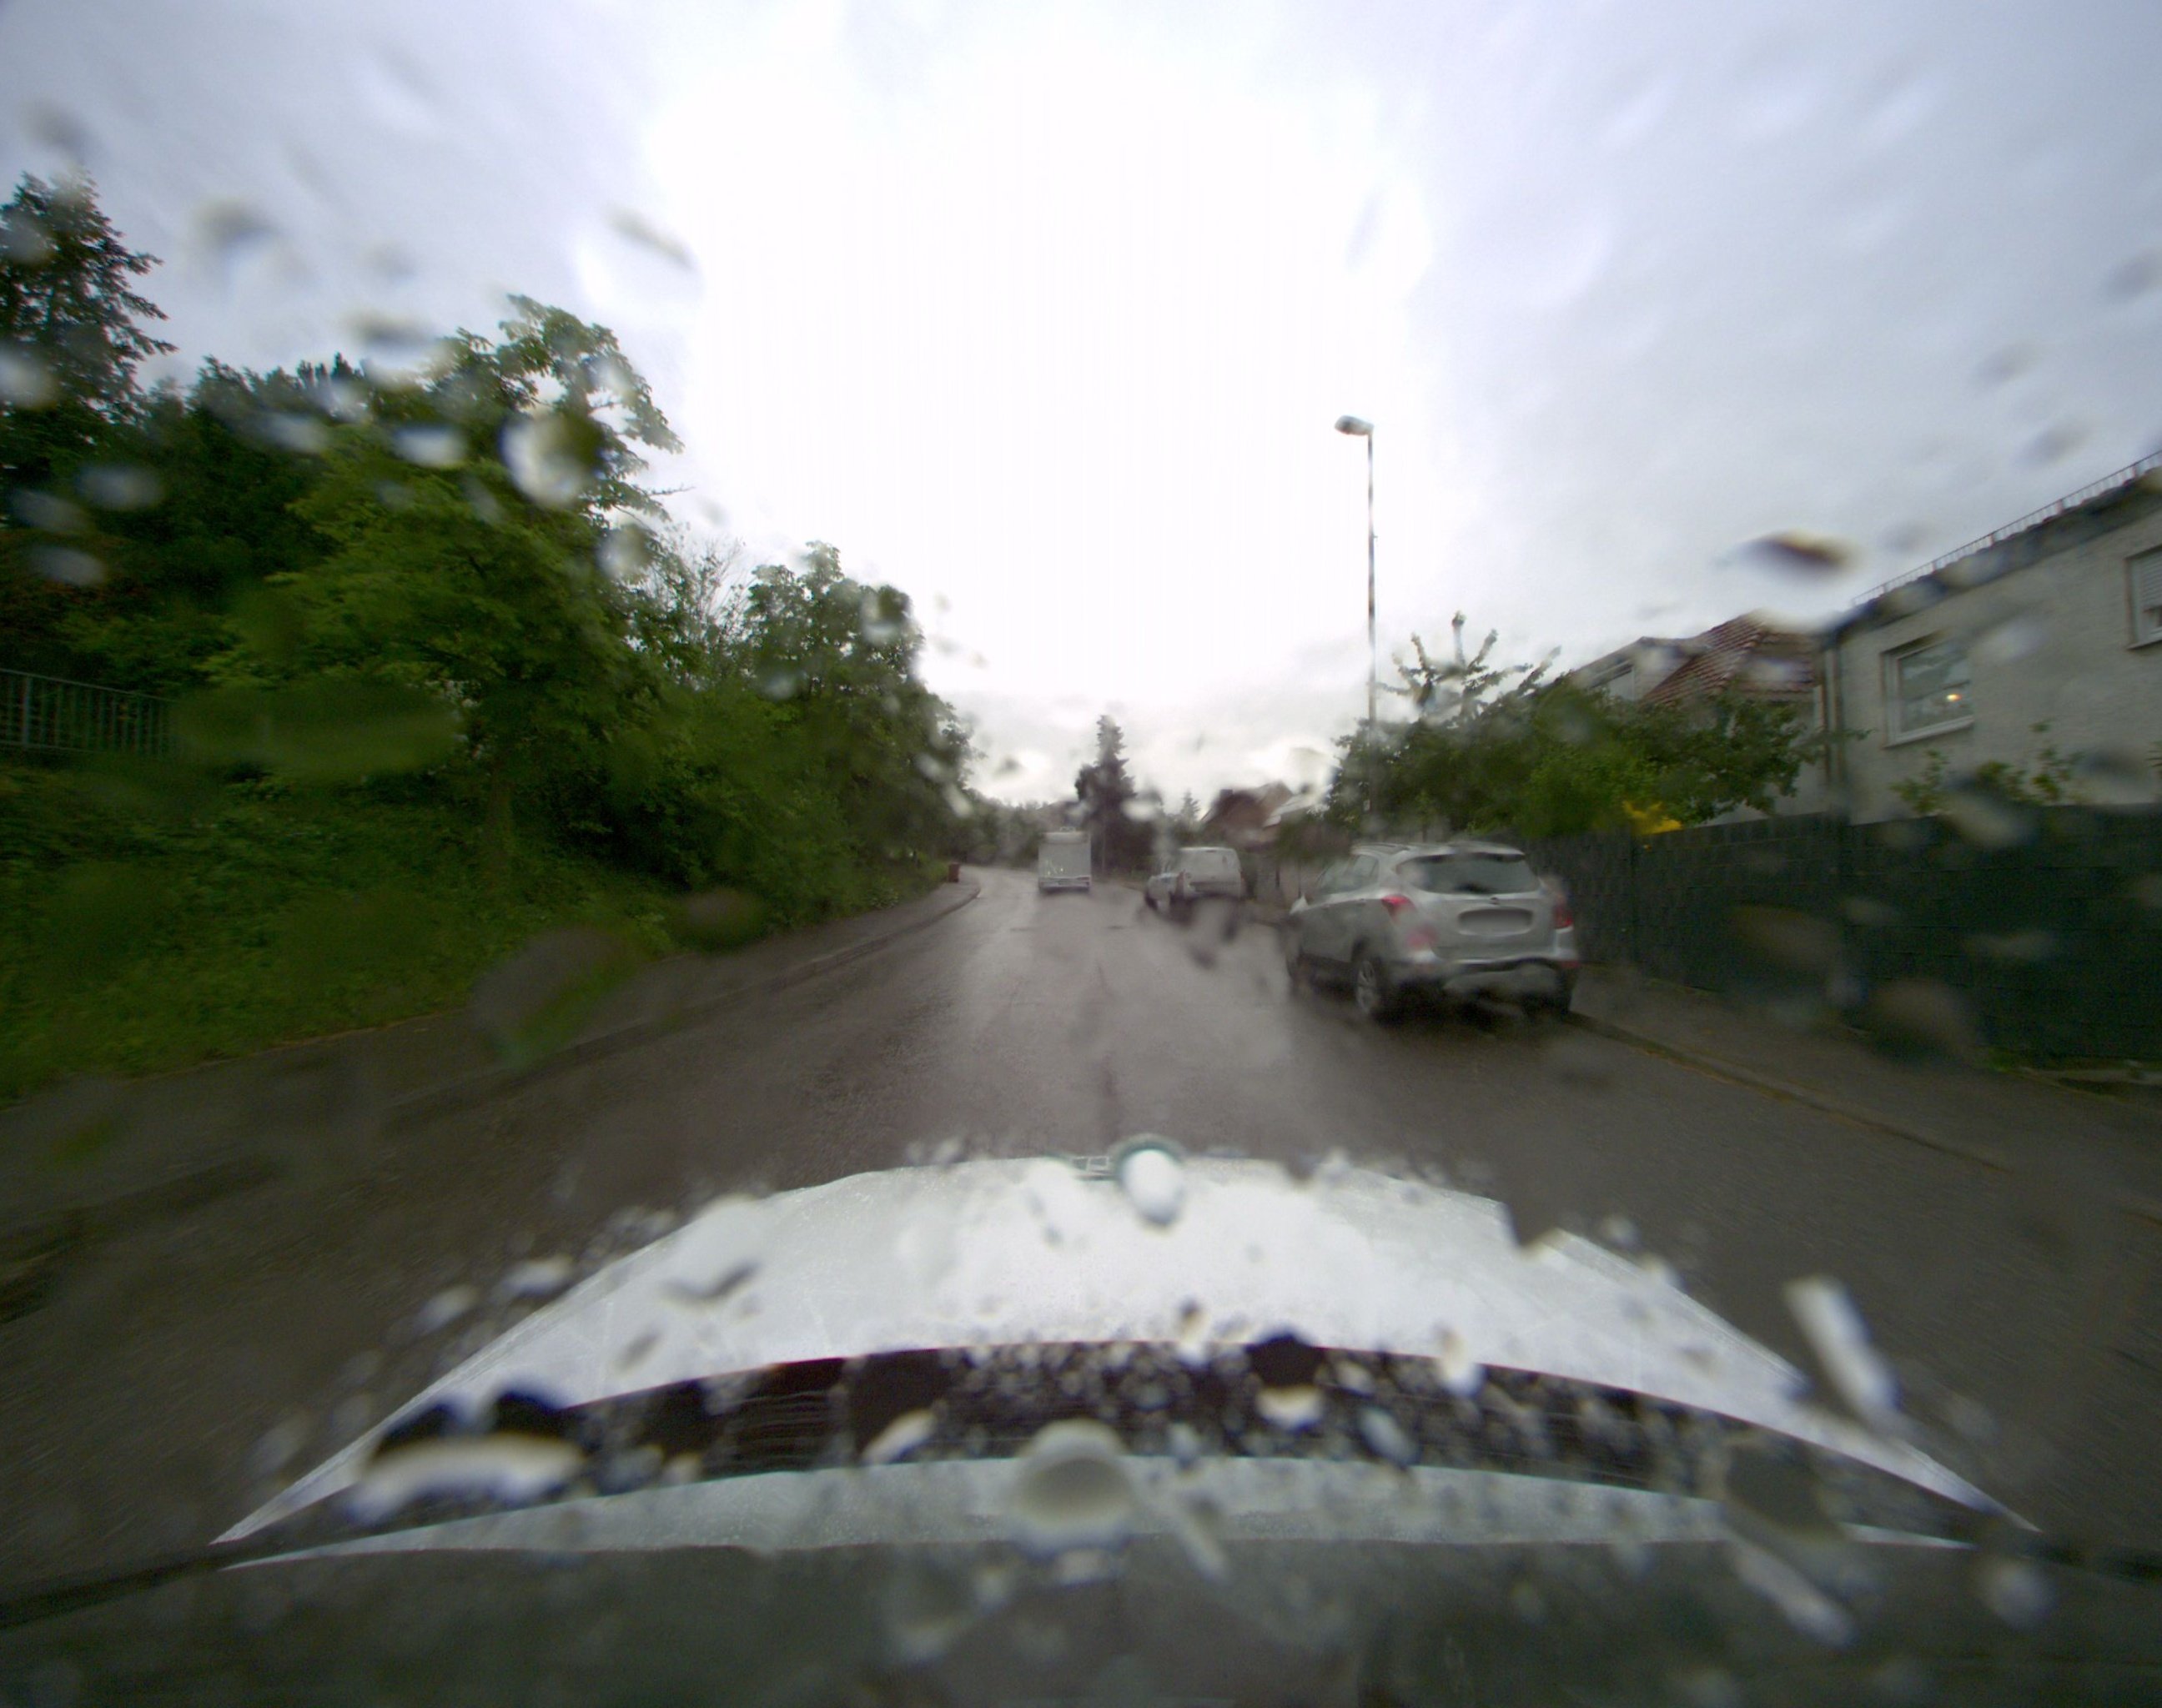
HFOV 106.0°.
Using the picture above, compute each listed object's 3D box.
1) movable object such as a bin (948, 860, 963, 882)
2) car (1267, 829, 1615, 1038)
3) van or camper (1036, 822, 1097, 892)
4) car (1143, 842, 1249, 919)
[{"bbox_3d":[-6.951,0.932,45.089,0.693,1.090,0.802,2,3,-4],"label":"movable object such as a bin"},{"bbox_3d":[3.426,0.660,8.786,1.798,1.626,4.287,-2,0,0],"label":"car"},{"bbox_3d":[-0.724,0.154,36.763,2.534,2.925,5.942,0,-1,-3],"label":"van or camper"},{"bbox_3d":[2.926,0.658,21.722,1.776,1.803,4.698,0,-1,-5],"label":"car"}]
